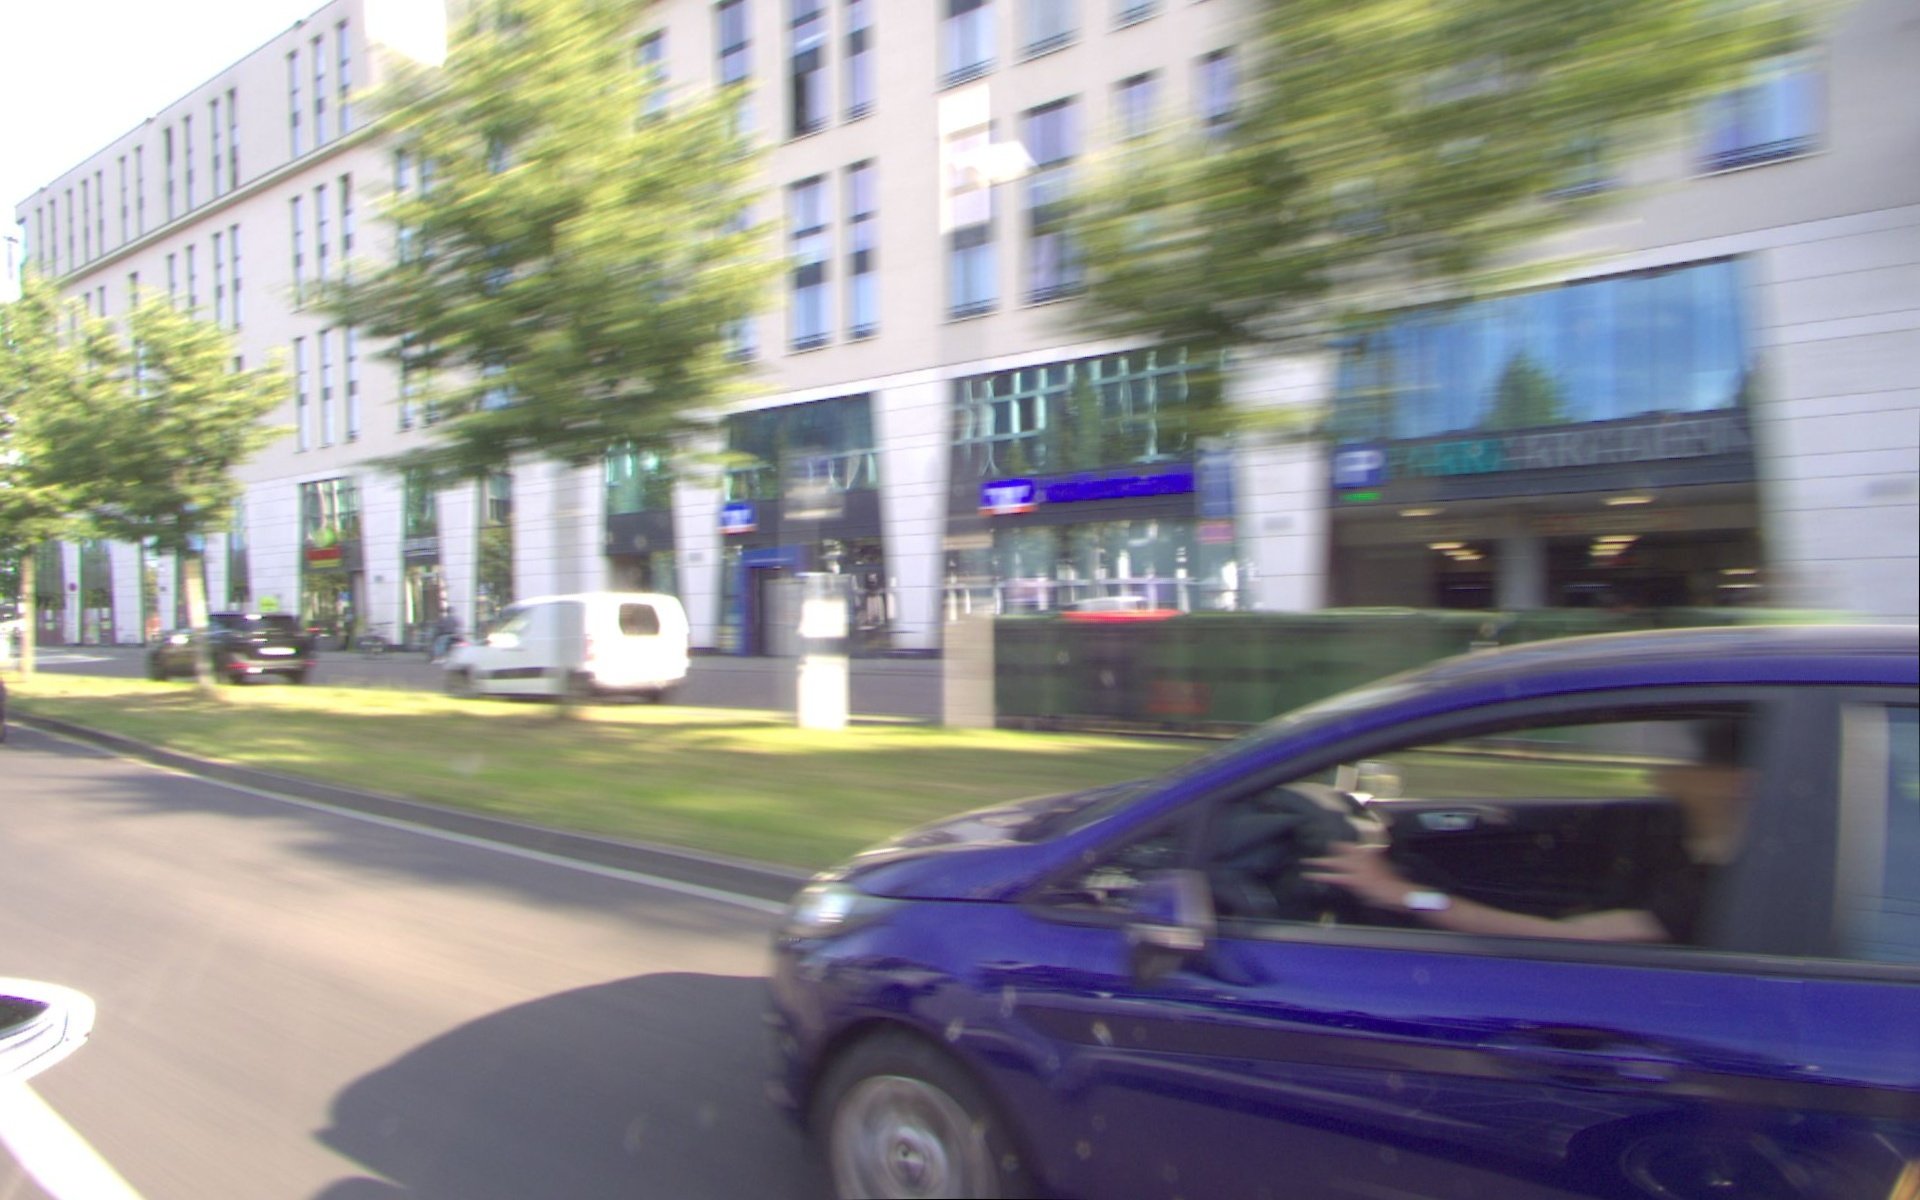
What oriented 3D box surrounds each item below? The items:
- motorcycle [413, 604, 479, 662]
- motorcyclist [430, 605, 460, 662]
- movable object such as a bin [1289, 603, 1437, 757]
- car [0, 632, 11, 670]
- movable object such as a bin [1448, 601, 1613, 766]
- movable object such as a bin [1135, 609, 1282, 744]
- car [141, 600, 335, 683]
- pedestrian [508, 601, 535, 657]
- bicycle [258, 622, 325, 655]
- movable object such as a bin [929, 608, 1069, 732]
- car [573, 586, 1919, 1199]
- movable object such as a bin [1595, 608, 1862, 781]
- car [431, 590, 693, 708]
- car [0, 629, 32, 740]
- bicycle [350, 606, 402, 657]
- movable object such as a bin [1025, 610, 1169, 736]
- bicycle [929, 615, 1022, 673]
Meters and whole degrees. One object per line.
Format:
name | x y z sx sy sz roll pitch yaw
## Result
motorcycle | -15.392 0.991 29.956 1.982 1.640 0.699 -1 3 30
motorcyclist | -15.429 0.985 29.990 0.411 1.663 0.623 0 2 28
movable object such as a bin | 3.861 0.732 9.542 1.173 1.334 1.277 -1 -2 28
car | -33.880 1.711 33.815 3.848 1.258 1.706 -2 -2 31
movable object such as a bin | 4.989 0.702 8.842 1.173 1.318 1.277 -1 -2 28
movable object such as a bin | 2.548 0.748 10.182 1.173 1.252 1.277 -1 -2 28
car | -16.594 0.914 22.977 4.607 1.730 1.895 0 -2 30
pedestrian | -14.119 0.940 32.260 0.637 1.785 0.536 -1 -2 32
bicycle | -23.702 1.364 35.545 1.868 1.098 0.635 -1 0 -7
movable object such as a bin | 0.460 0.775 11.389 1.160 1.307 1.277 -1 -2 28
car | 0.981 0.749 2.301 3.853 1.442 1.557 -2 -2 33
movable object such as a bin | 6.276 0.726 8.216 1.383 1.252 1.329 1 -2 -31
car | -6.624 0.798 16.588 4.232 1.733 1.825 -1 -2 30
car | -14.353 1.119 13.488 3.905 1.442 1.771 -2 -2 32
bicycle | -19.385 1.059 33.221 2.181 1.639 0.554 -2 -2 33
movable object such as a bin | 1.500 0.765 10.800 1.173 1.252 1.277 -1 -2 28
bicycle | 0.301 0.899 20.616 1.917 1.131 0.491 -1 0 32
